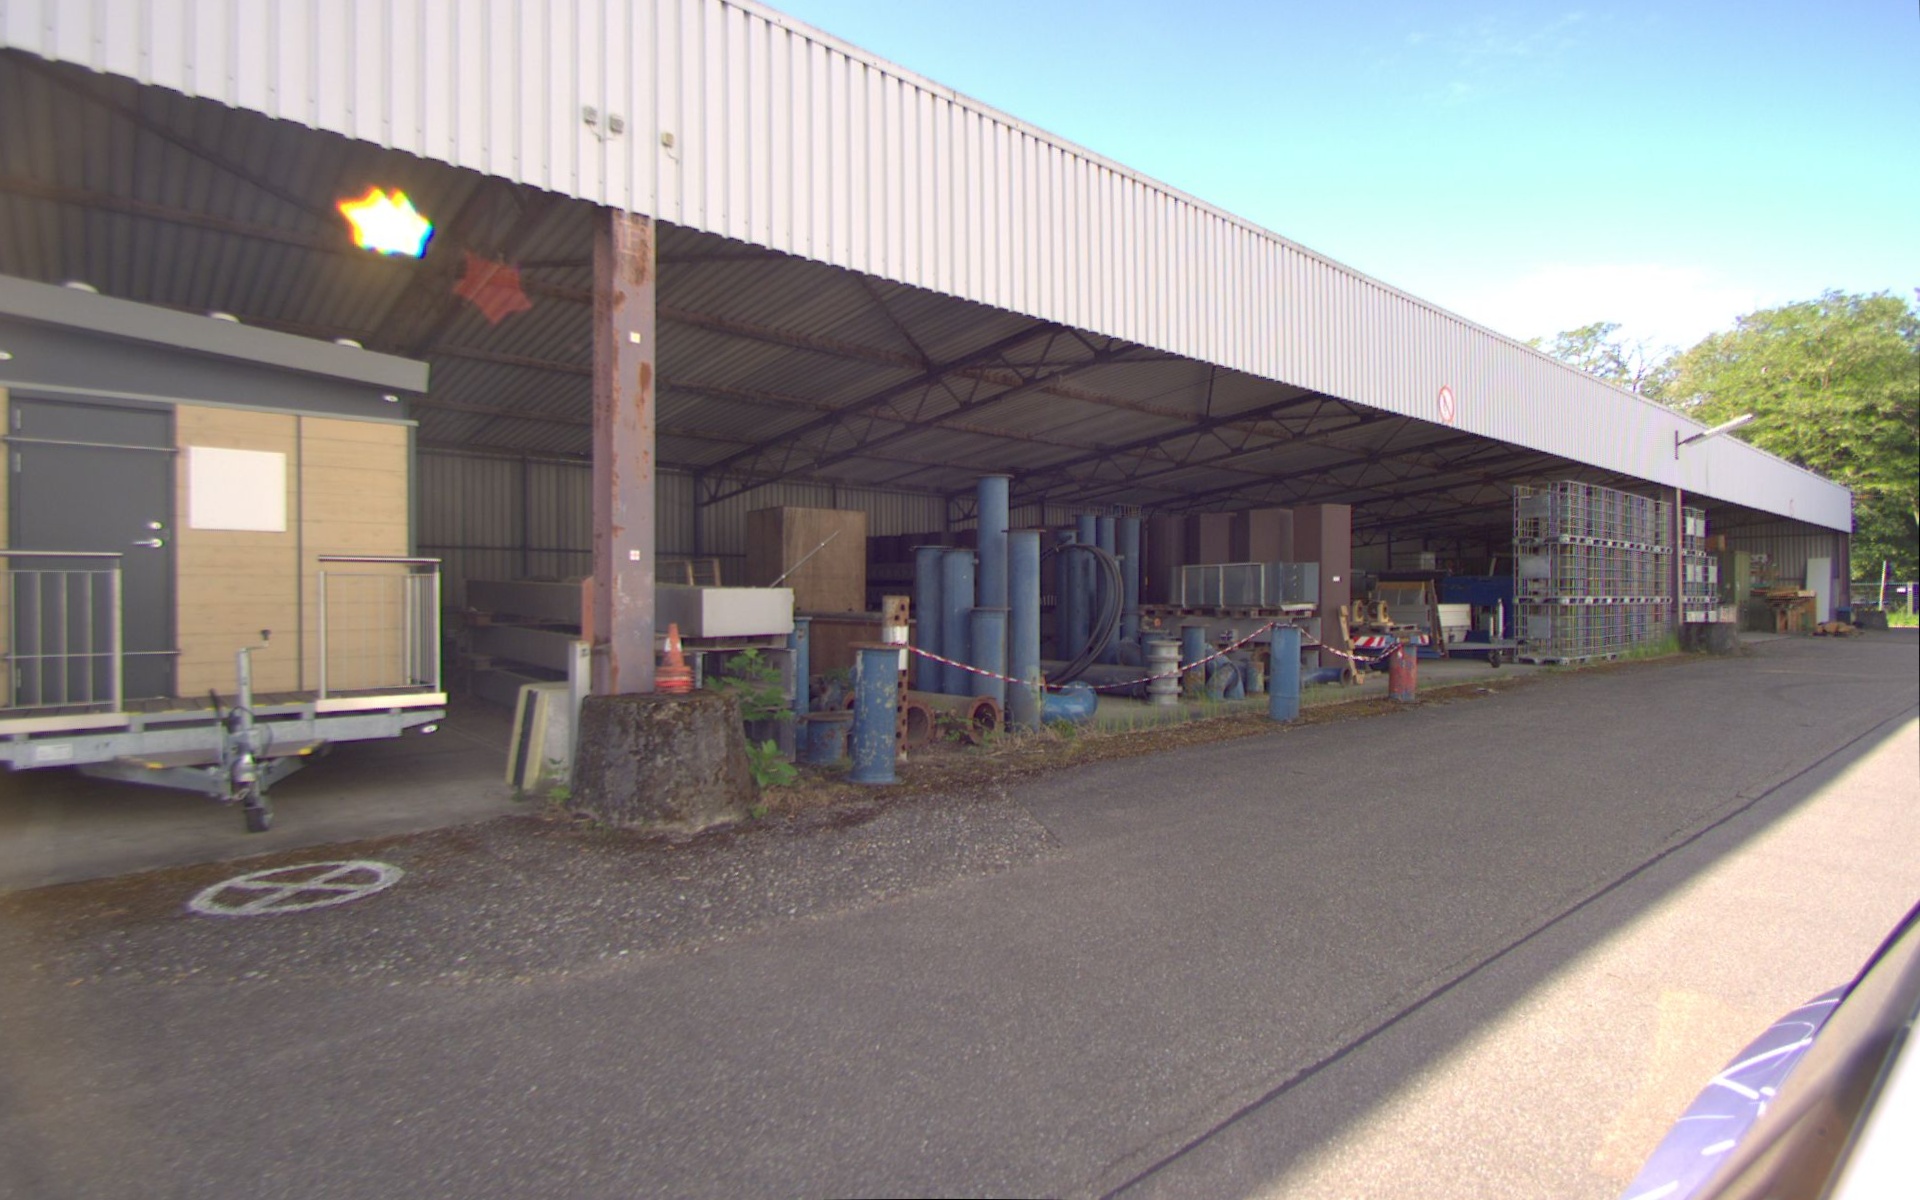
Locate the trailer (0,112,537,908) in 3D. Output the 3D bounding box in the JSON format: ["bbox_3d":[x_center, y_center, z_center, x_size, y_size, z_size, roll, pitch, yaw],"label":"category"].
[{"bbox_3d":[-6.755,-0.478,8.793,2.752,3.385,10.289,0,1,-40],"label":"trailer"}]

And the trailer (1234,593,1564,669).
[{"bbox_3d":[8.429,0.503,20.006,1.941,1.200,5.736,-1,2,-42],"label":"trailer"}]

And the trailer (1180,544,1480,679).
[{"bbox_3d":[6.242,0.111,17.513,2.124,2.015,4.433,-1,2,-39],"label":"trailer"}]

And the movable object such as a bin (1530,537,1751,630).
[{"bbox_3d":[23.465,-0.541,35.121,2.770,2.962,5.845,0,0,-40],"label":"movable object such as a bin"}]

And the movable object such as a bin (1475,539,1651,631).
[{"bbox_3d":[20.185,-0.477,34.013,2.453,2.866,4.535,0,0,-40],"label":"movable object such as a bin"}]
